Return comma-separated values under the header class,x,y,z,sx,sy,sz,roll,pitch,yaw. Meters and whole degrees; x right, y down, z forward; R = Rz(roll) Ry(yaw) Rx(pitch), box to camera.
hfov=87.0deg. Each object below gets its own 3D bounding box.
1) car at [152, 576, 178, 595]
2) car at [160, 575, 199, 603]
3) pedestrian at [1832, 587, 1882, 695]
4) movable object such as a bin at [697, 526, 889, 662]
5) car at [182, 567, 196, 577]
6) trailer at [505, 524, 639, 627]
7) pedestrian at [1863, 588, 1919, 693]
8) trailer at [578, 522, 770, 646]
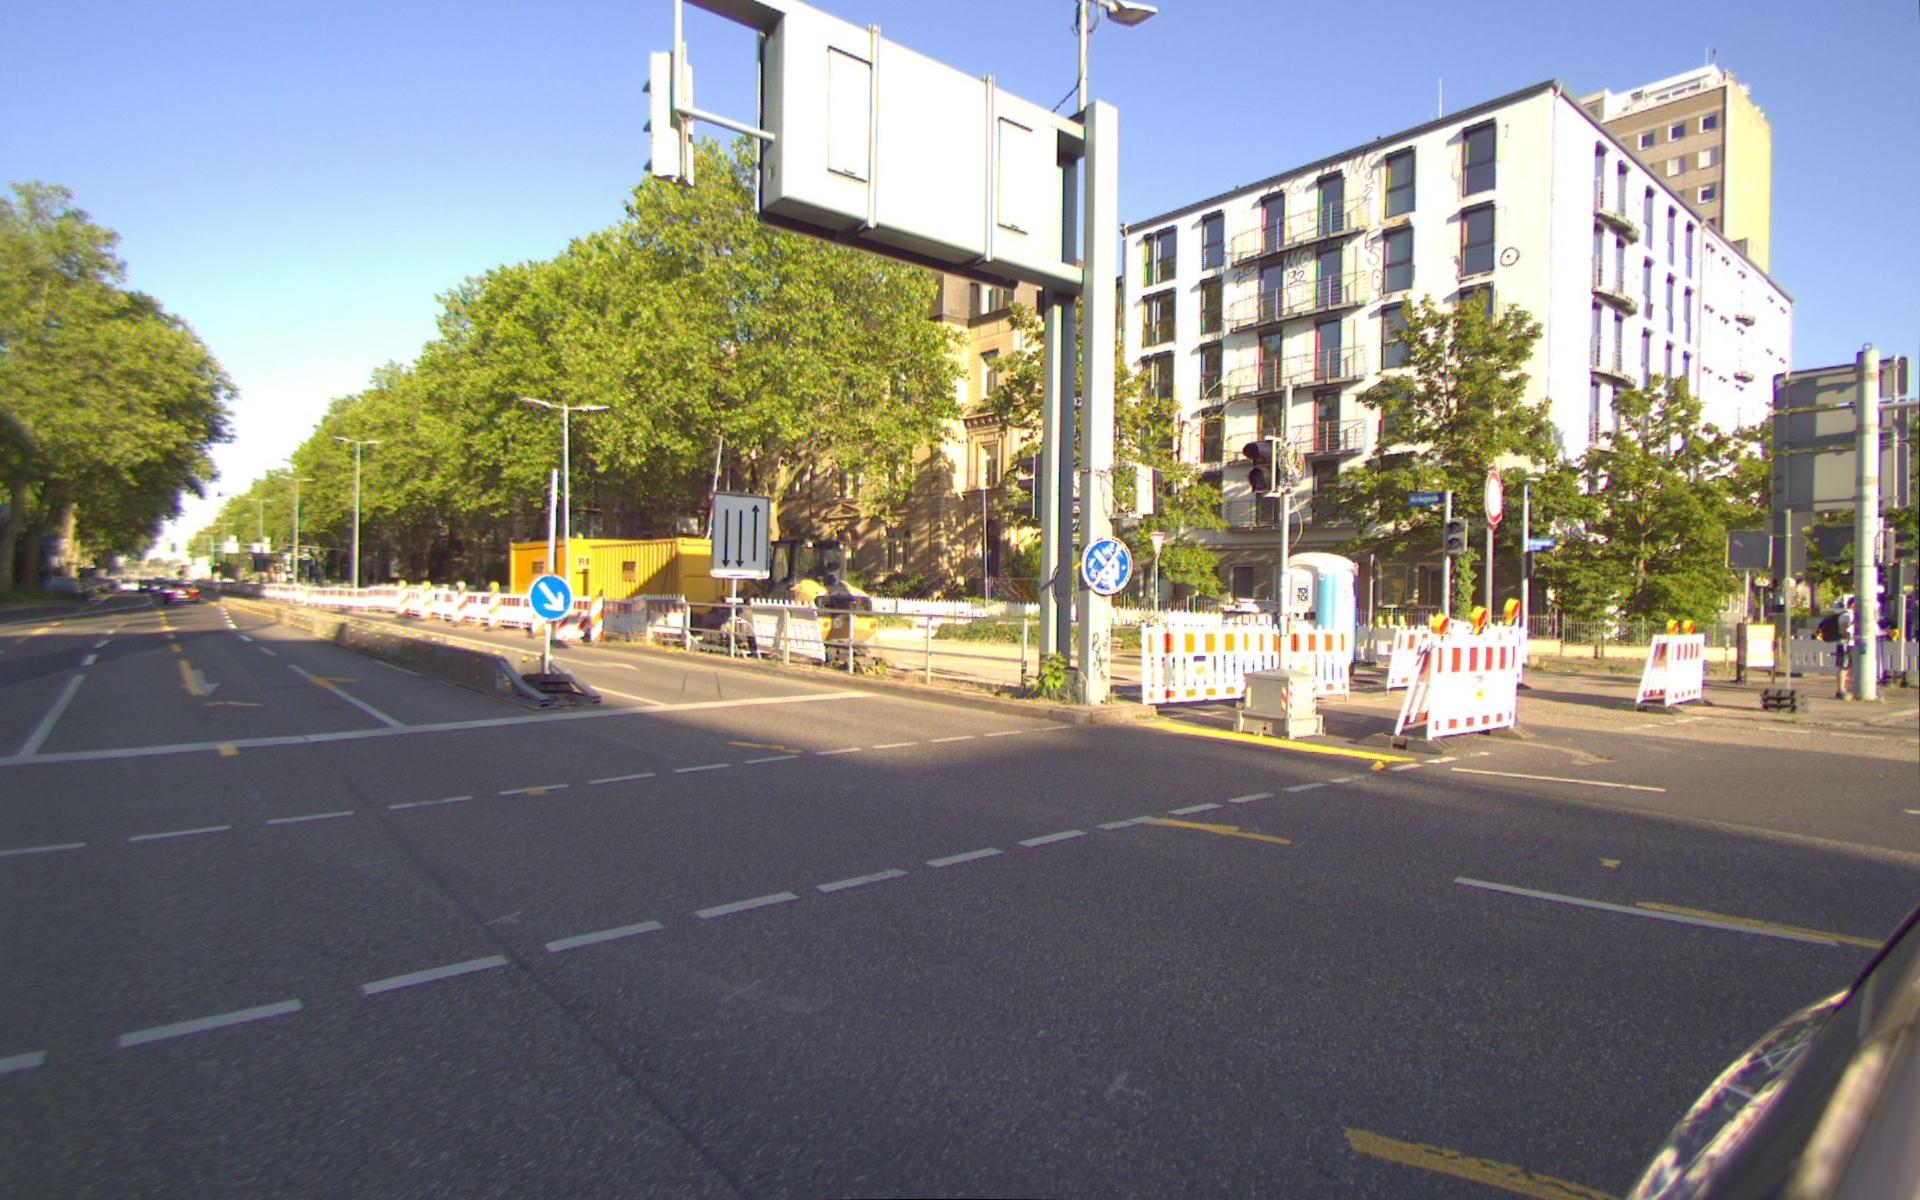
class,x,y,z,sx,sy,sz,roll,pitch,yaw
car,-73.721,-1.385,93.850,1.740,1.727,3.995,1,0,-40
car,-49.231,-0.696,63.797,1.740,1.727,3.995,1,0,-40
pedestrian,16.112,0.715,18.179,0.494,1.901,0.597,1,0,25
movable object such as a bin,-3.820,-0.150,22.261,1.963,2.626,5.213,1,0,-37
car,-142.072,-5.161,186.481,1.740,1.727,3.995,1,0,-40
trailer,-12.781,-0.778,33.067,2.363,3.053,6.126,1,0,-38
pedestrian,17.178,0.729,18.555,0.696,1.901,0.578,1,0,-3
trailer,-7.746,-0.428,26.909,2.498,2.904,6.119,1,0,-42
